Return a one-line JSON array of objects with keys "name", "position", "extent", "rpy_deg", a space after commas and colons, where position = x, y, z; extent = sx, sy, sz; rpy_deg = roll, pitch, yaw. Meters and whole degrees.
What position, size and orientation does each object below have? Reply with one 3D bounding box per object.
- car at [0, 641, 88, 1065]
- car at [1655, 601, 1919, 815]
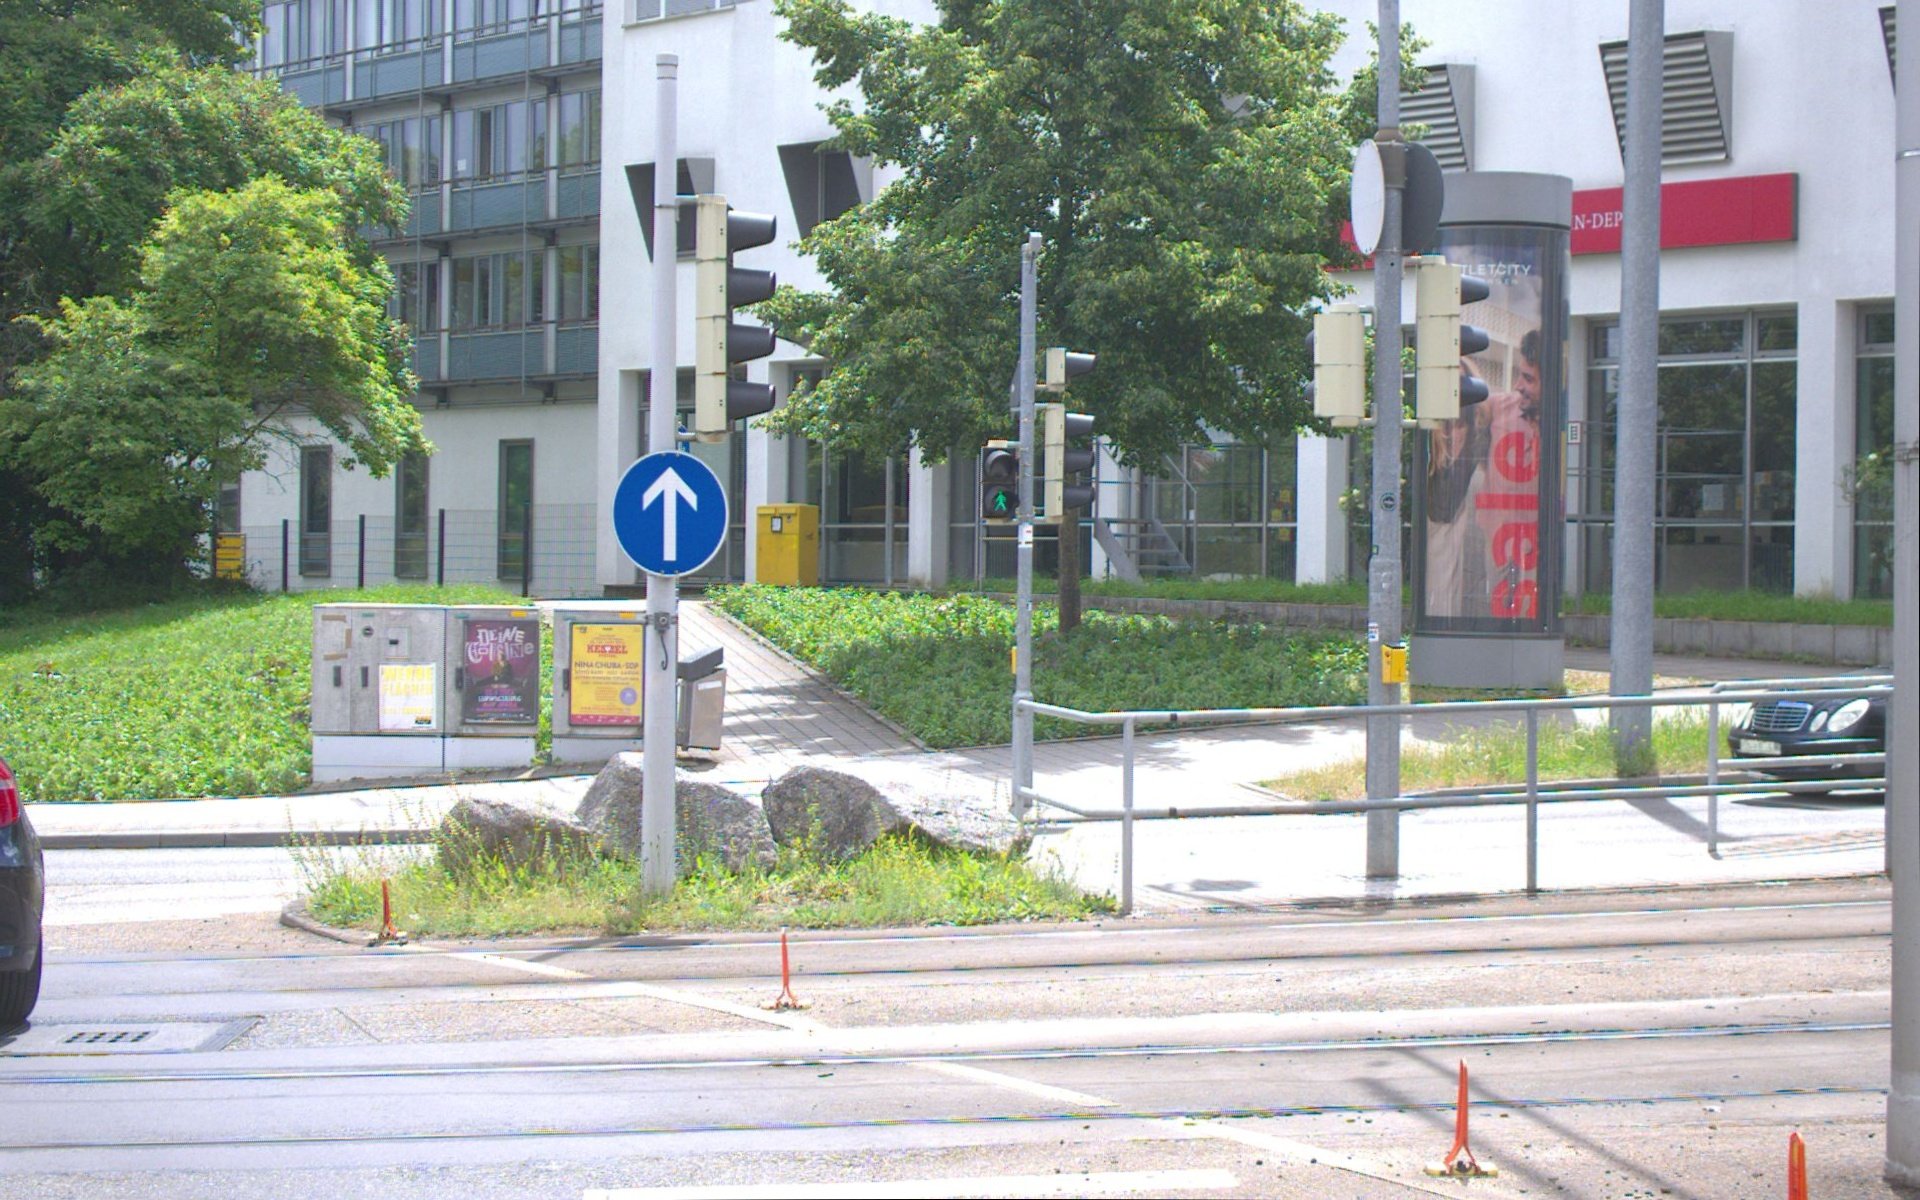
[{"name": "car", "position": [-4.681, 0.894, 13.046], "extent": [1.815, 1.416, 4.000], "rpy_deg": [-1, 0, -27]}, {"name": "car", "position": [7.564, 0.727, 25.357], "extent": [4.309, 1.460, 2.053], "rpy_deg": [-1, -1, -20]}]
